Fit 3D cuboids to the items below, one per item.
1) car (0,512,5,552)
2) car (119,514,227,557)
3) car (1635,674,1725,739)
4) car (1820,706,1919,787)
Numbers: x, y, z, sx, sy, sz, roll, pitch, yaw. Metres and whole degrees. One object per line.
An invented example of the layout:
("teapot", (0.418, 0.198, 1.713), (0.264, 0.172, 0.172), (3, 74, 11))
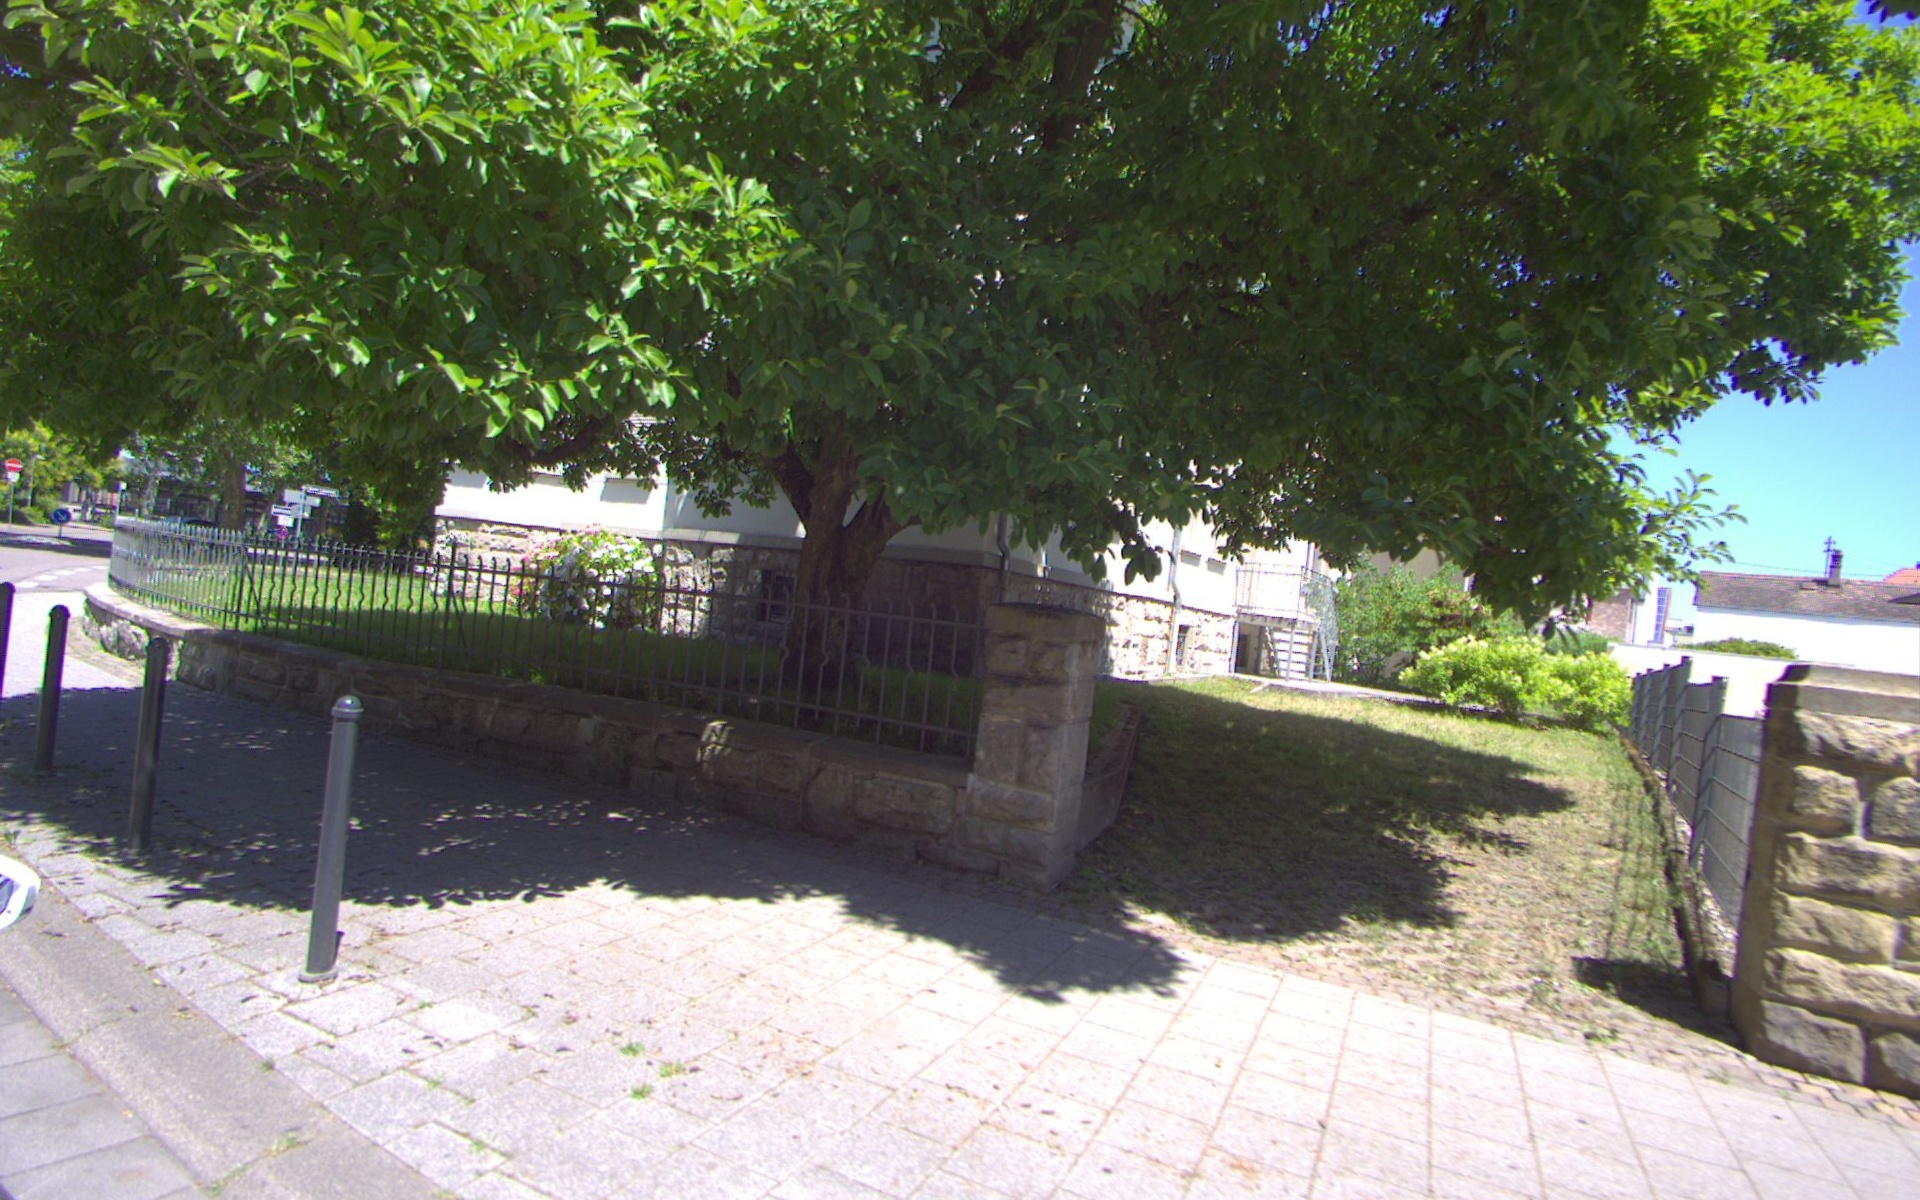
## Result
("car", (-21.618, -1.338, 21.034), (1.818, 1.352, 4.651), (8, -1, -38))
("car", (-40.824, -3.310, 52.353), (1.791, 1.595, 4.477), (7, -2, 3))
("car", (19.705, 2.928, 27.652), (1.757, 1.436, 4.040), (6, -2, 34))
("car", (22.399, 3.516, 23.311), (3.472, 1.599, 1.652), (6, -1, 35))
